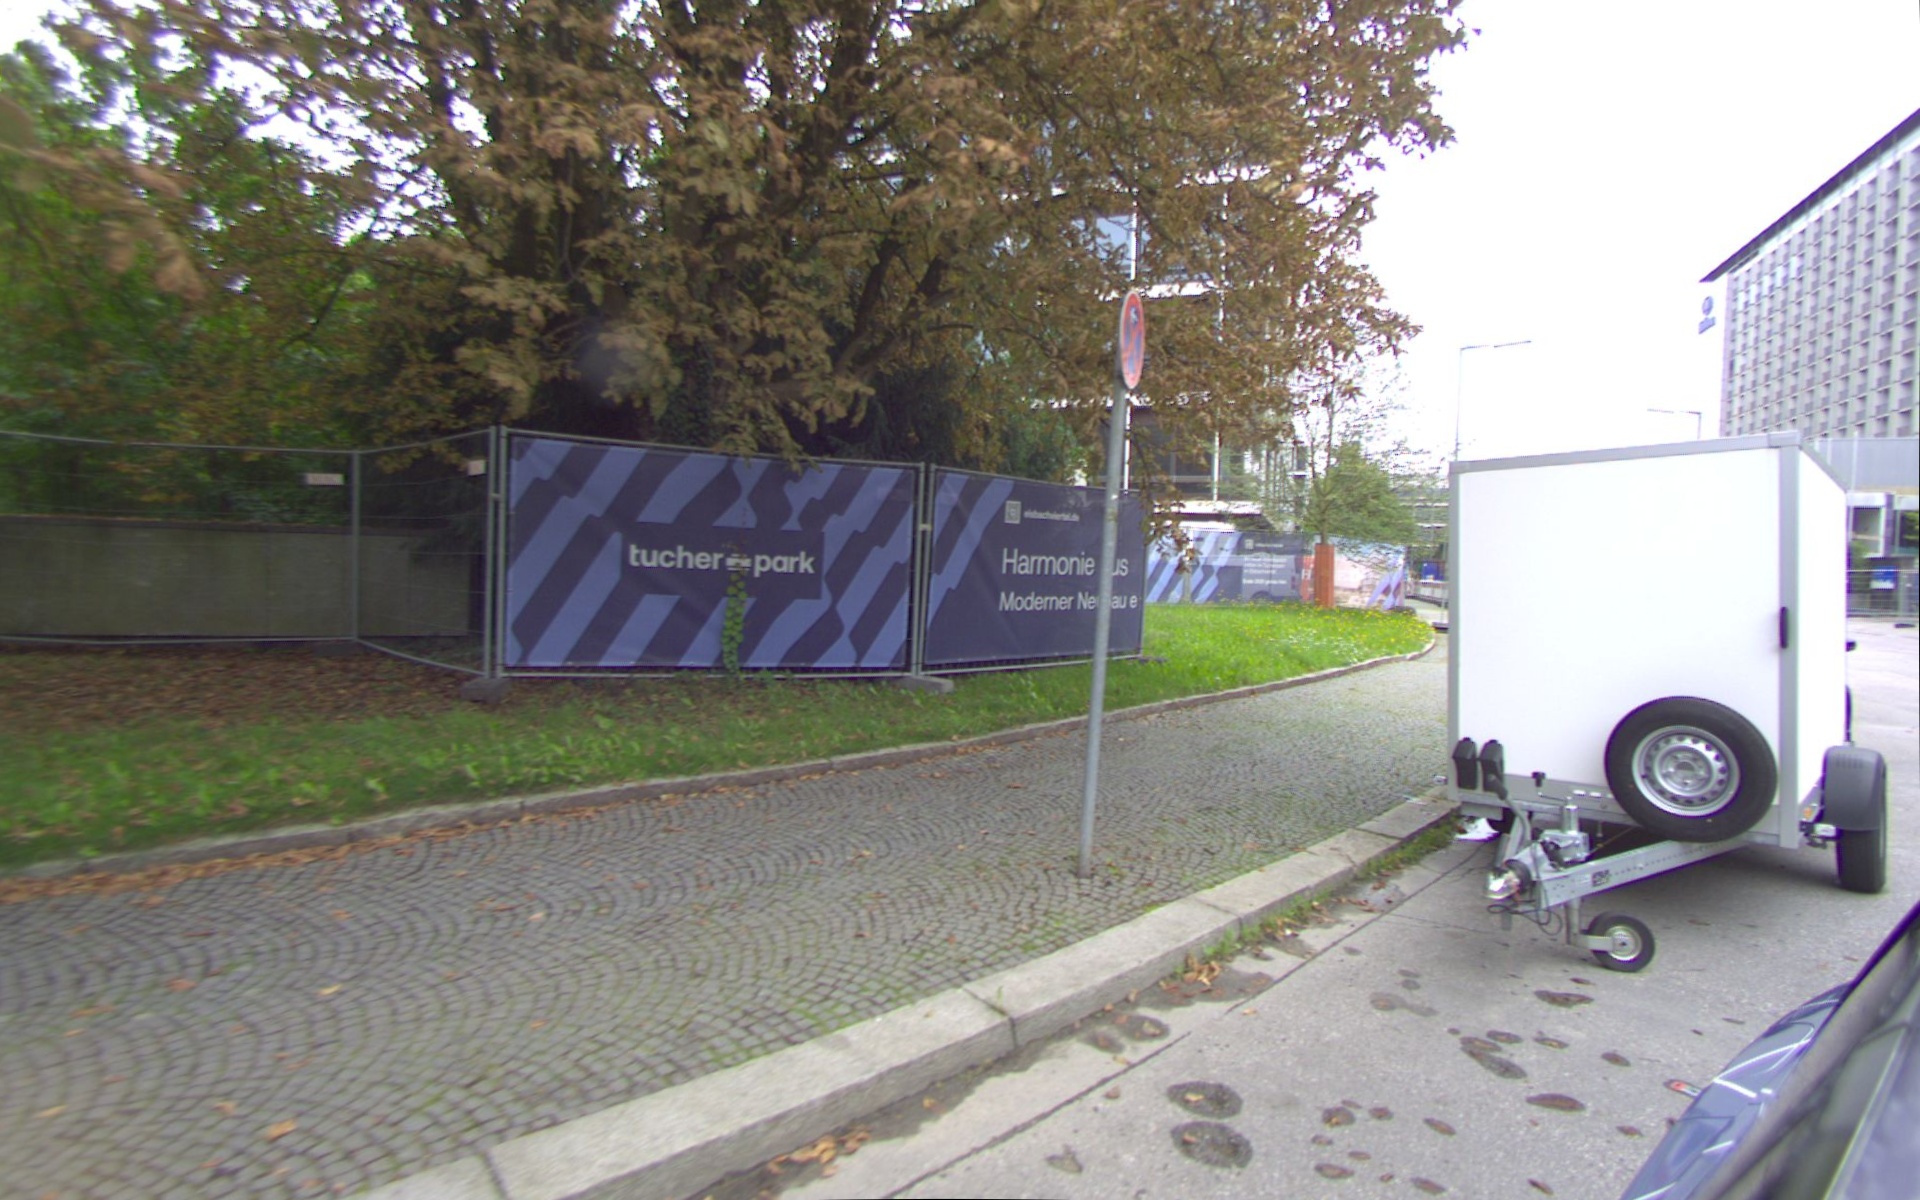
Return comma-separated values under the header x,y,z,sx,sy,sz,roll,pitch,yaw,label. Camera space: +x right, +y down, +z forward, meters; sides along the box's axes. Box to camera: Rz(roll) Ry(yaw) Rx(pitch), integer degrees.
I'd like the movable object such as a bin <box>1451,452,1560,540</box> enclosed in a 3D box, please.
x,y,z,sx,sy,sz,roll,pitch,yaw,label
26.661,-4.959,49.932,3.211,3.761,8.953,2,3,19,movable object such as a bin

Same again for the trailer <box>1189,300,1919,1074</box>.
x,y,z,sx,sy,sz,roll,pitch,yaw,label
3.281,0.155,4.944,4.752,2.038,1.812,-1,3,-43,trailer

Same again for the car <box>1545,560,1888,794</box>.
x,y,z,sx,sy,sz,roll,pitch,yaw,label
6.508,0.449,8.874,1.868,1.454,4.271,4,3,36,car

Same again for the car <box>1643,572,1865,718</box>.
x,y,z,sx,sy,sz,roll,pitch,yaw,label
9.952,0.418,13.004,1.759,1.504,4.173,3,3,32,car

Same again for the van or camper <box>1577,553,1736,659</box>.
x,y,z,sx,sy,sz,roll,pitch,yaw,label
15.314,0.005,22.581,1.979,2.038,5.332,2,3,25,van or camper

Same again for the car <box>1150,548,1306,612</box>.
x,y,z,sx,sy,sz,roll,pitch,yaw,label
8.744,-0.680,33.030,4.720,1.945,1.986,2,2,22,car
